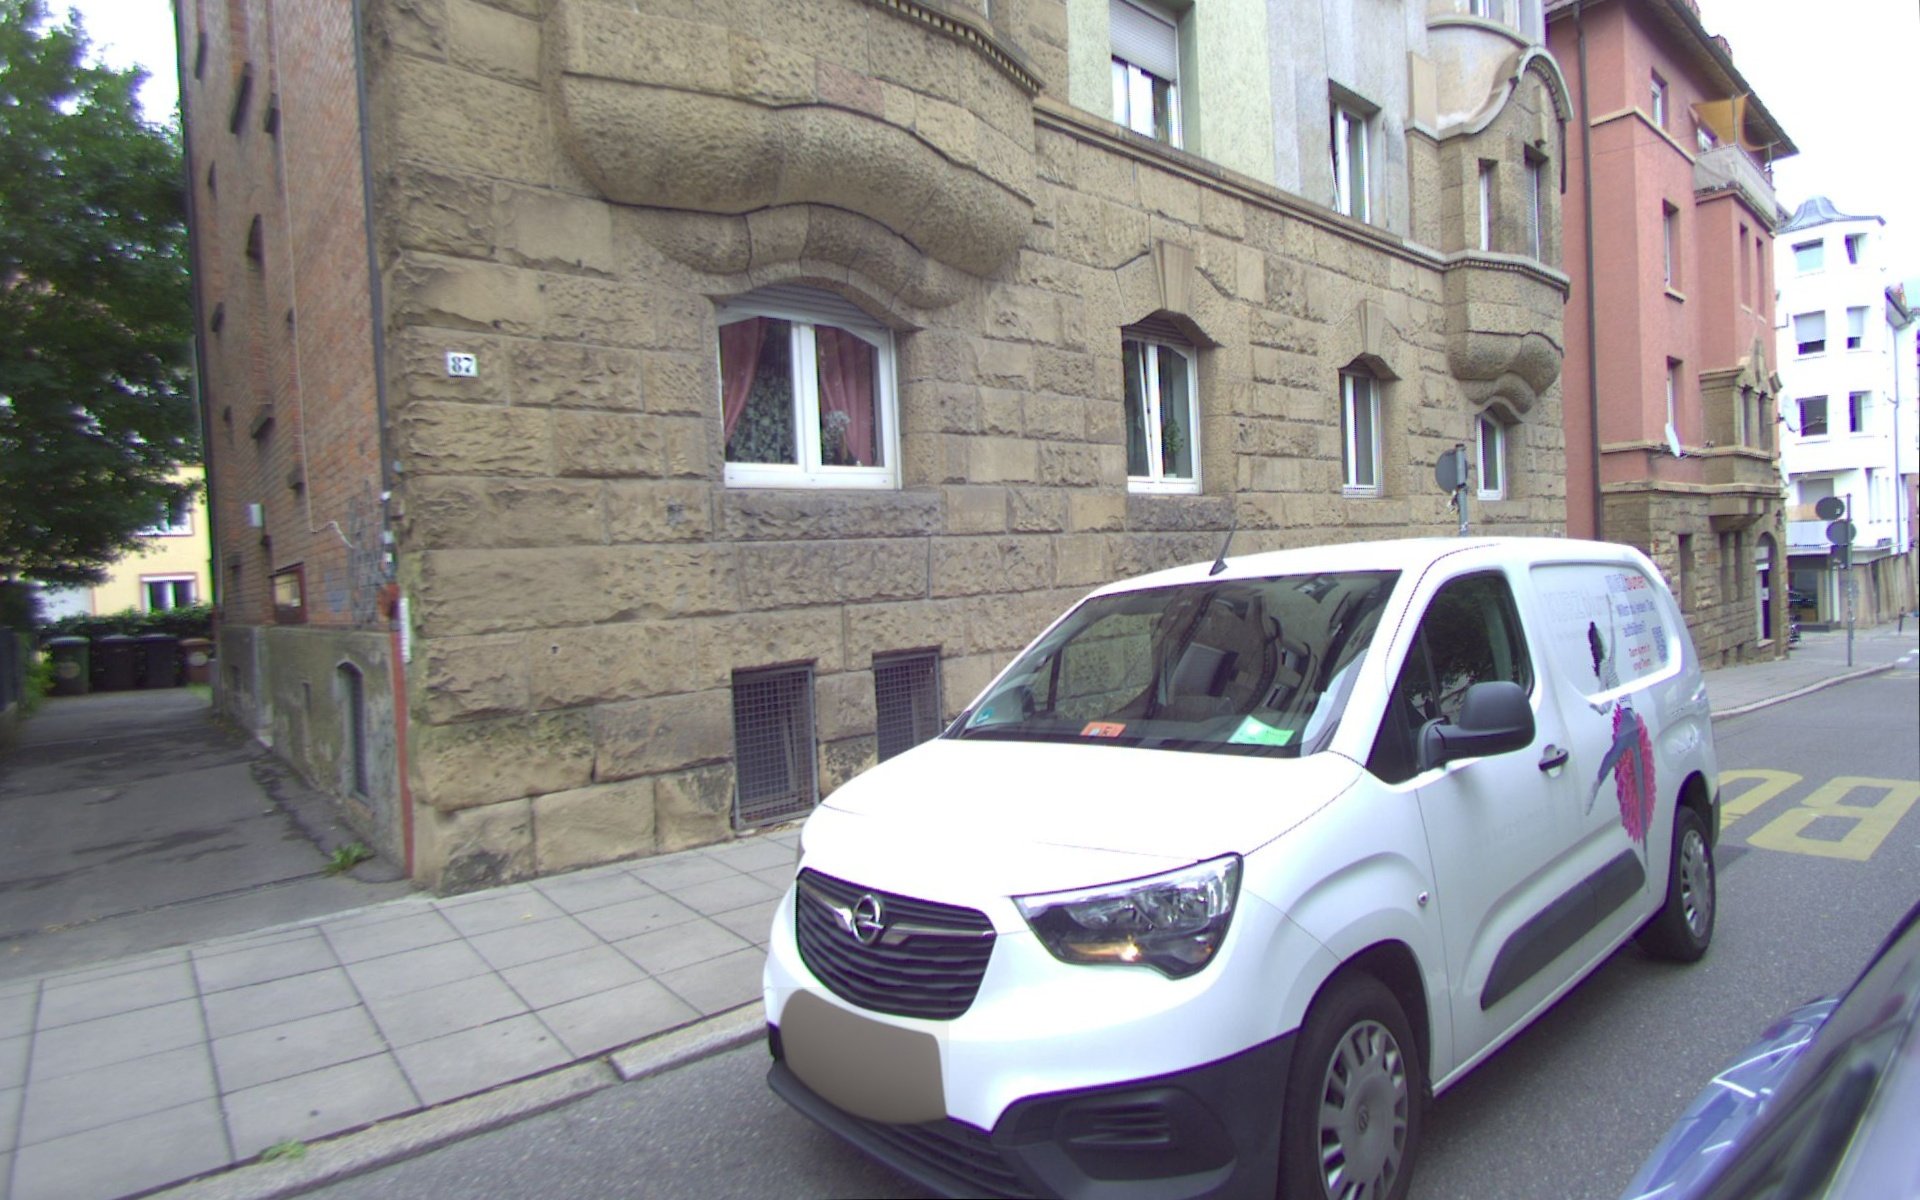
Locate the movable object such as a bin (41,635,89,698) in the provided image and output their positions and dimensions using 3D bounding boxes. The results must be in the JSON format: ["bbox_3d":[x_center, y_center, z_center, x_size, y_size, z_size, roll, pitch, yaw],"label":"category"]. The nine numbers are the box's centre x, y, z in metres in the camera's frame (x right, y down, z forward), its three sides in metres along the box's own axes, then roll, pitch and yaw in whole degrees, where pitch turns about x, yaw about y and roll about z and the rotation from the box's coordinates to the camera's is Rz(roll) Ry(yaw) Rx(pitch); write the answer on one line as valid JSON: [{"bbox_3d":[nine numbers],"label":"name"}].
[{"bbox_3d":[-16.469,1.210,18.626,0.618,1.080,0.580,-2,1,-42],"label":"movable object such as a bin"}]

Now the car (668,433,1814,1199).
[{"bbox_3d":[1.569,0.544,4.136,4.929,1.848,1.854,-3,0,-37],"label":"car"}]

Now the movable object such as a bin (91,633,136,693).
[{"bbox_3d":[-16.221,1.187,19.387,0.618,1.080,0.580,-2,1,-42],"label":"movable object such as a bin"}]

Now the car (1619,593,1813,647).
[{"bbox_3d":[26.332,0.730,35.372,5.125,1.570,2.203,-5,-2,44],"label":"car"}]

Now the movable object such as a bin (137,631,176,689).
[{"bbox_3d":[-15.676,1.161,19.740,0.526,1.080,0.580,-2,1,-42],"label":"movable object such as a bin"}]

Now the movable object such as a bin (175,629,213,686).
[{"bbox_3d":[-15.286,1.138,20.203,0.526,1.080,0.580,-2,1,-42],"label":"movable object such as a bin"}]
